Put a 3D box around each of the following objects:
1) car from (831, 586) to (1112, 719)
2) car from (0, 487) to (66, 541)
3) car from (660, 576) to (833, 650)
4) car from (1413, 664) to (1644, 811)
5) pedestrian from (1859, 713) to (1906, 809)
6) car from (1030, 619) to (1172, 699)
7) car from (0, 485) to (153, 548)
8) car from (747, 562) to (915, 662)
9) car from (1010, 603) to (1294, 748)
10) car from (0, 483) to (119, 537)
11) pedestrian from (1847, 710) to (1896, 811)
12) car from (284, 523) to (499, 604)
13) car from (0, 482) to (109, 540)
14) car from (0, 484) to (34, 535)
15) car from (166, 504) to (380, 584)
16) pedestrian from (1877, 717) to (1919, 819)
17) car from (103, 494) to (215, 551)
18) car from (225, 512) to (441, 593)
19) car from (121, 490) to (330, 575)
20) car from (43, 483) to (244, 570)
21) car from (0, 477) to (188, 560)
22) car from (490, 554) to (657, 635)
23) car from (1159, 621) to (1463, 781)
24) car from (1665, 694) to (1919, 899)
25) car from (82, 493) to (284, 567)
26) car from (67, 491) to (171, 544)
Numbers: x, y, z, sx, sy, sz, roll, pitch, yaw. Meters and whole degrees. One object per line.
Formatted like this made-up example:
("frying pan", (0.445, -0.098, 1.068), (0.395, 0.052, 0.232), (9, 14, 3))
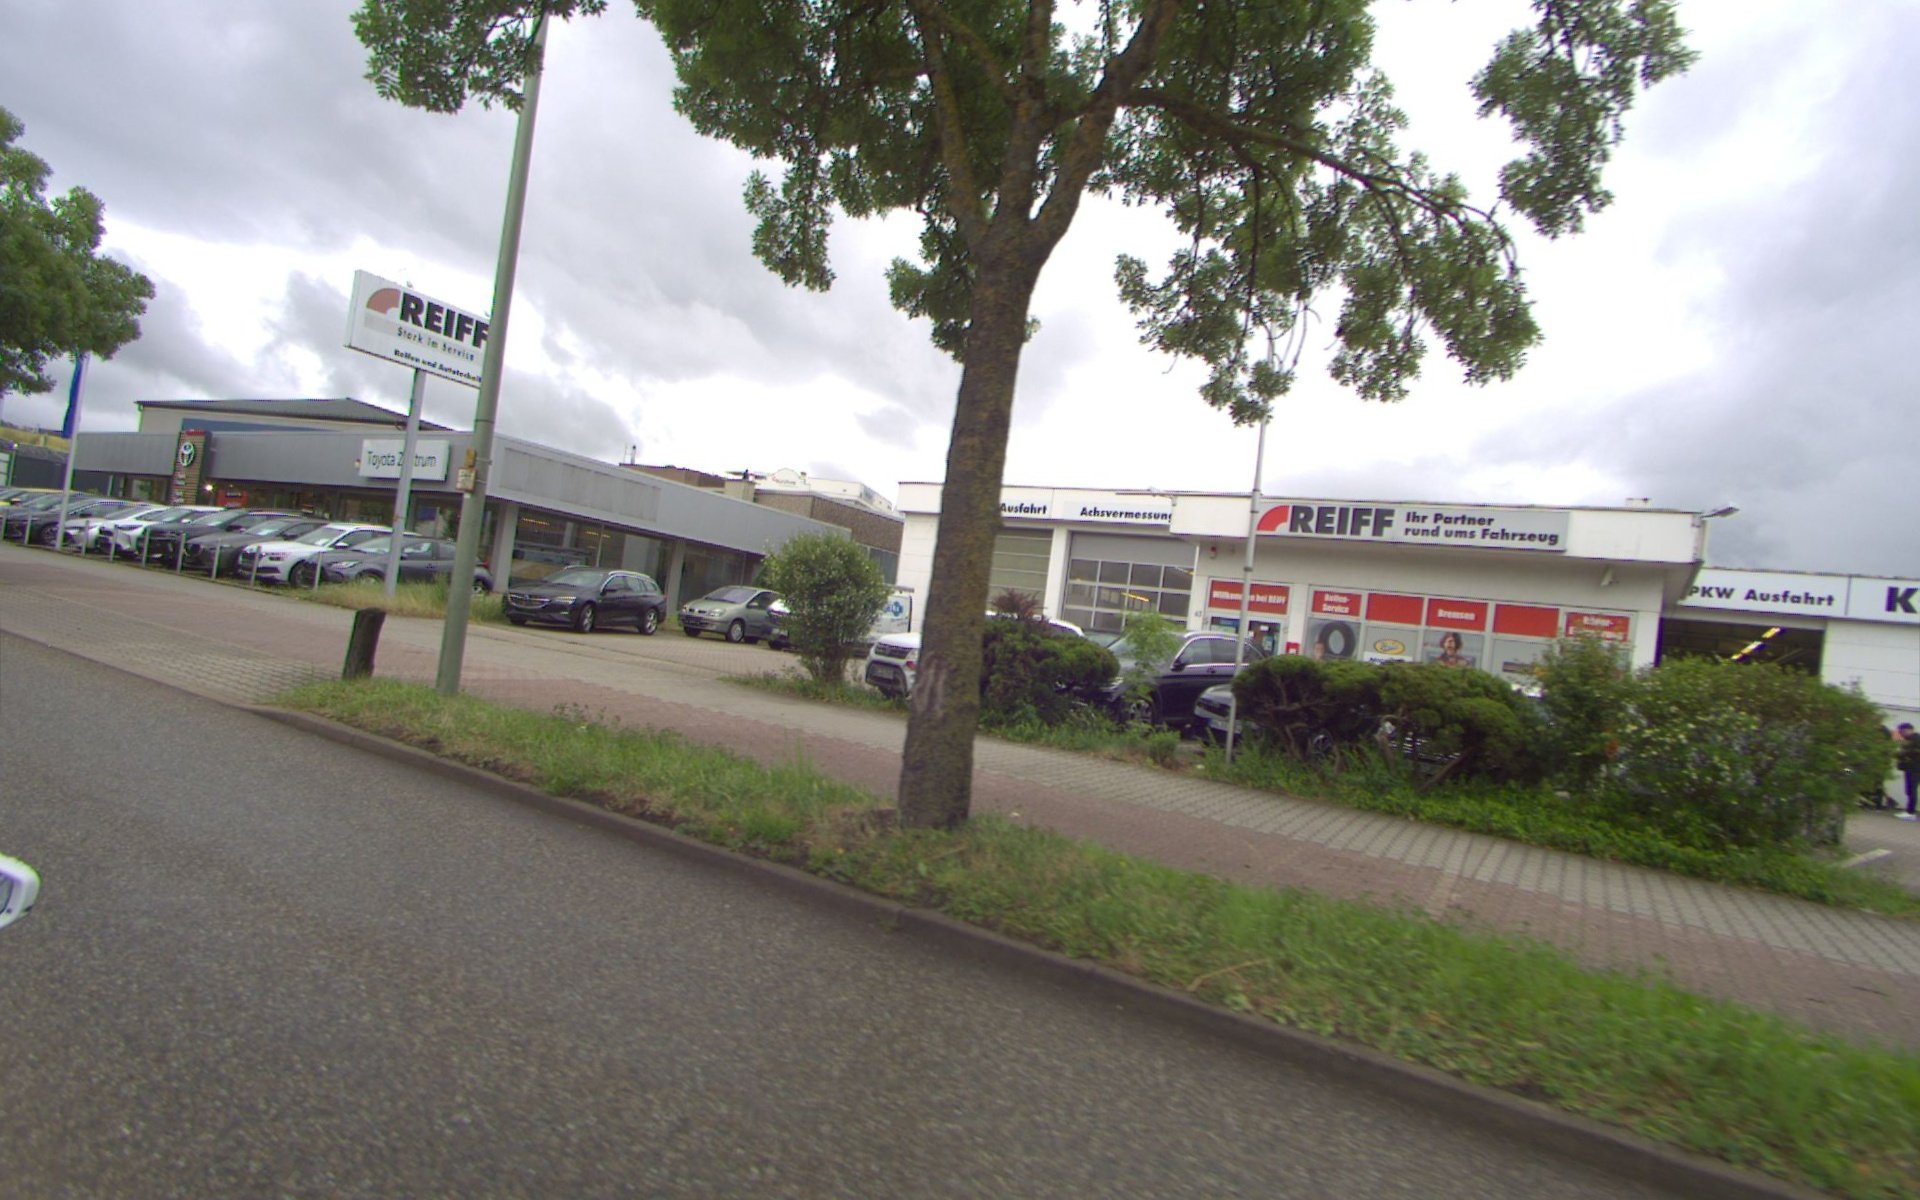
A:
("car", (0.256, 0.864, 16.011), (4.038, 1.616, 1.963), (8, -1, -40))
("car", (-32.631, -3.068, 33.393), (1.769, 1.557, 3.995), (7, -1, 29))
("car", (-5.867, 0.423, 28.280), (1.967, 1.515, 4.661), (7, -1, 32))
("car", (7.955, 1.869, 13.926), (1.710, 1.541, 3.919), (7, -1, 44))
("pedestrian", (18.377, 3.197, 20.051), (0.497, 1.806, 0.514), (6, 0, 37))
("car", (3.579, 1.507, 24.891), (1.951, 1.520, 4.064), (7, -2, 31))
("car", (-28.238, -2.635, 31.722), (1.682, 1.567, 3.988), (7, 2, 32))
("car", (-3.365, 0.411, 27.329), (1.931, 2.175, 4.663), (7, -1, 29))
("car", (3.011, 1.193, 15.408), (4.120, 1.683, 1.802), (8, 1, -37))
("car", (-37.287, -3.709, 41.064), (1.850, 1.641, 4.111), (7, 0, 33))
("pedestrian", (17.136, 3.008, 18.907), (0.435, 1.806, 0.510), (7, 0, -43))
("car", (-12.817, -0.784, 22.901), (1.796, 1.481, 3.835), (7, 2, 29))
("car", (-30.399, -2.948, 32.680), (1.638, 1.587, 3.843), (7, 2, 27))
("car", (-34.425, -3.334, 34.124), (1.813, 1.668, 3.993), (7, 0, 29))
("car", (-17.044, -1.346, 25.132), (1.782, 1.606, 3.987), (7, 3, 32))
("pedestrian", (16.906, 2.992, 17.947), (0.506, 1.725, 0.439), (7, 0, 5))
("car", (-29.918, -2.915, 37.555), (4.053, 1.642, 1.877), (7, 0, 31))
("car", (-14.914, -1.090, 24.135), (1.782, 1.564, 3.987), (7, 3, 32))
("car", (-19.000, -1.707, 26.191), (1.782, 1.811, 3.986), (7, 3, 32))
("car", (-23.368, -2.056, 28.937), (1.782, 1.808, 3.993), (7, -1, 32))
("car", (-26.291, -2.429, 30.570), (1.782, 1.808, 3.993), (7, -1, 32))
("car", (-8.732, -0.058, 23.062), (1.759, 1.481, 3.694), (7, -1, 11))
("car", (4.926, 1.439, 13.926), (4.120, 1.683, 1.802), (8, 1, -37))
("car", (9.003, 1.954, 10.730), (1.696, 1.541, 3.978), (7, -1, 44))
("car", (-21.192, -1.871, 27.617), (1.781, 1.610, 3.988), (8, 4, 28))
("car", (-33.506, -3.292, 40.060), (4.053, 1.642, 1.877), (7, 0, 31))
